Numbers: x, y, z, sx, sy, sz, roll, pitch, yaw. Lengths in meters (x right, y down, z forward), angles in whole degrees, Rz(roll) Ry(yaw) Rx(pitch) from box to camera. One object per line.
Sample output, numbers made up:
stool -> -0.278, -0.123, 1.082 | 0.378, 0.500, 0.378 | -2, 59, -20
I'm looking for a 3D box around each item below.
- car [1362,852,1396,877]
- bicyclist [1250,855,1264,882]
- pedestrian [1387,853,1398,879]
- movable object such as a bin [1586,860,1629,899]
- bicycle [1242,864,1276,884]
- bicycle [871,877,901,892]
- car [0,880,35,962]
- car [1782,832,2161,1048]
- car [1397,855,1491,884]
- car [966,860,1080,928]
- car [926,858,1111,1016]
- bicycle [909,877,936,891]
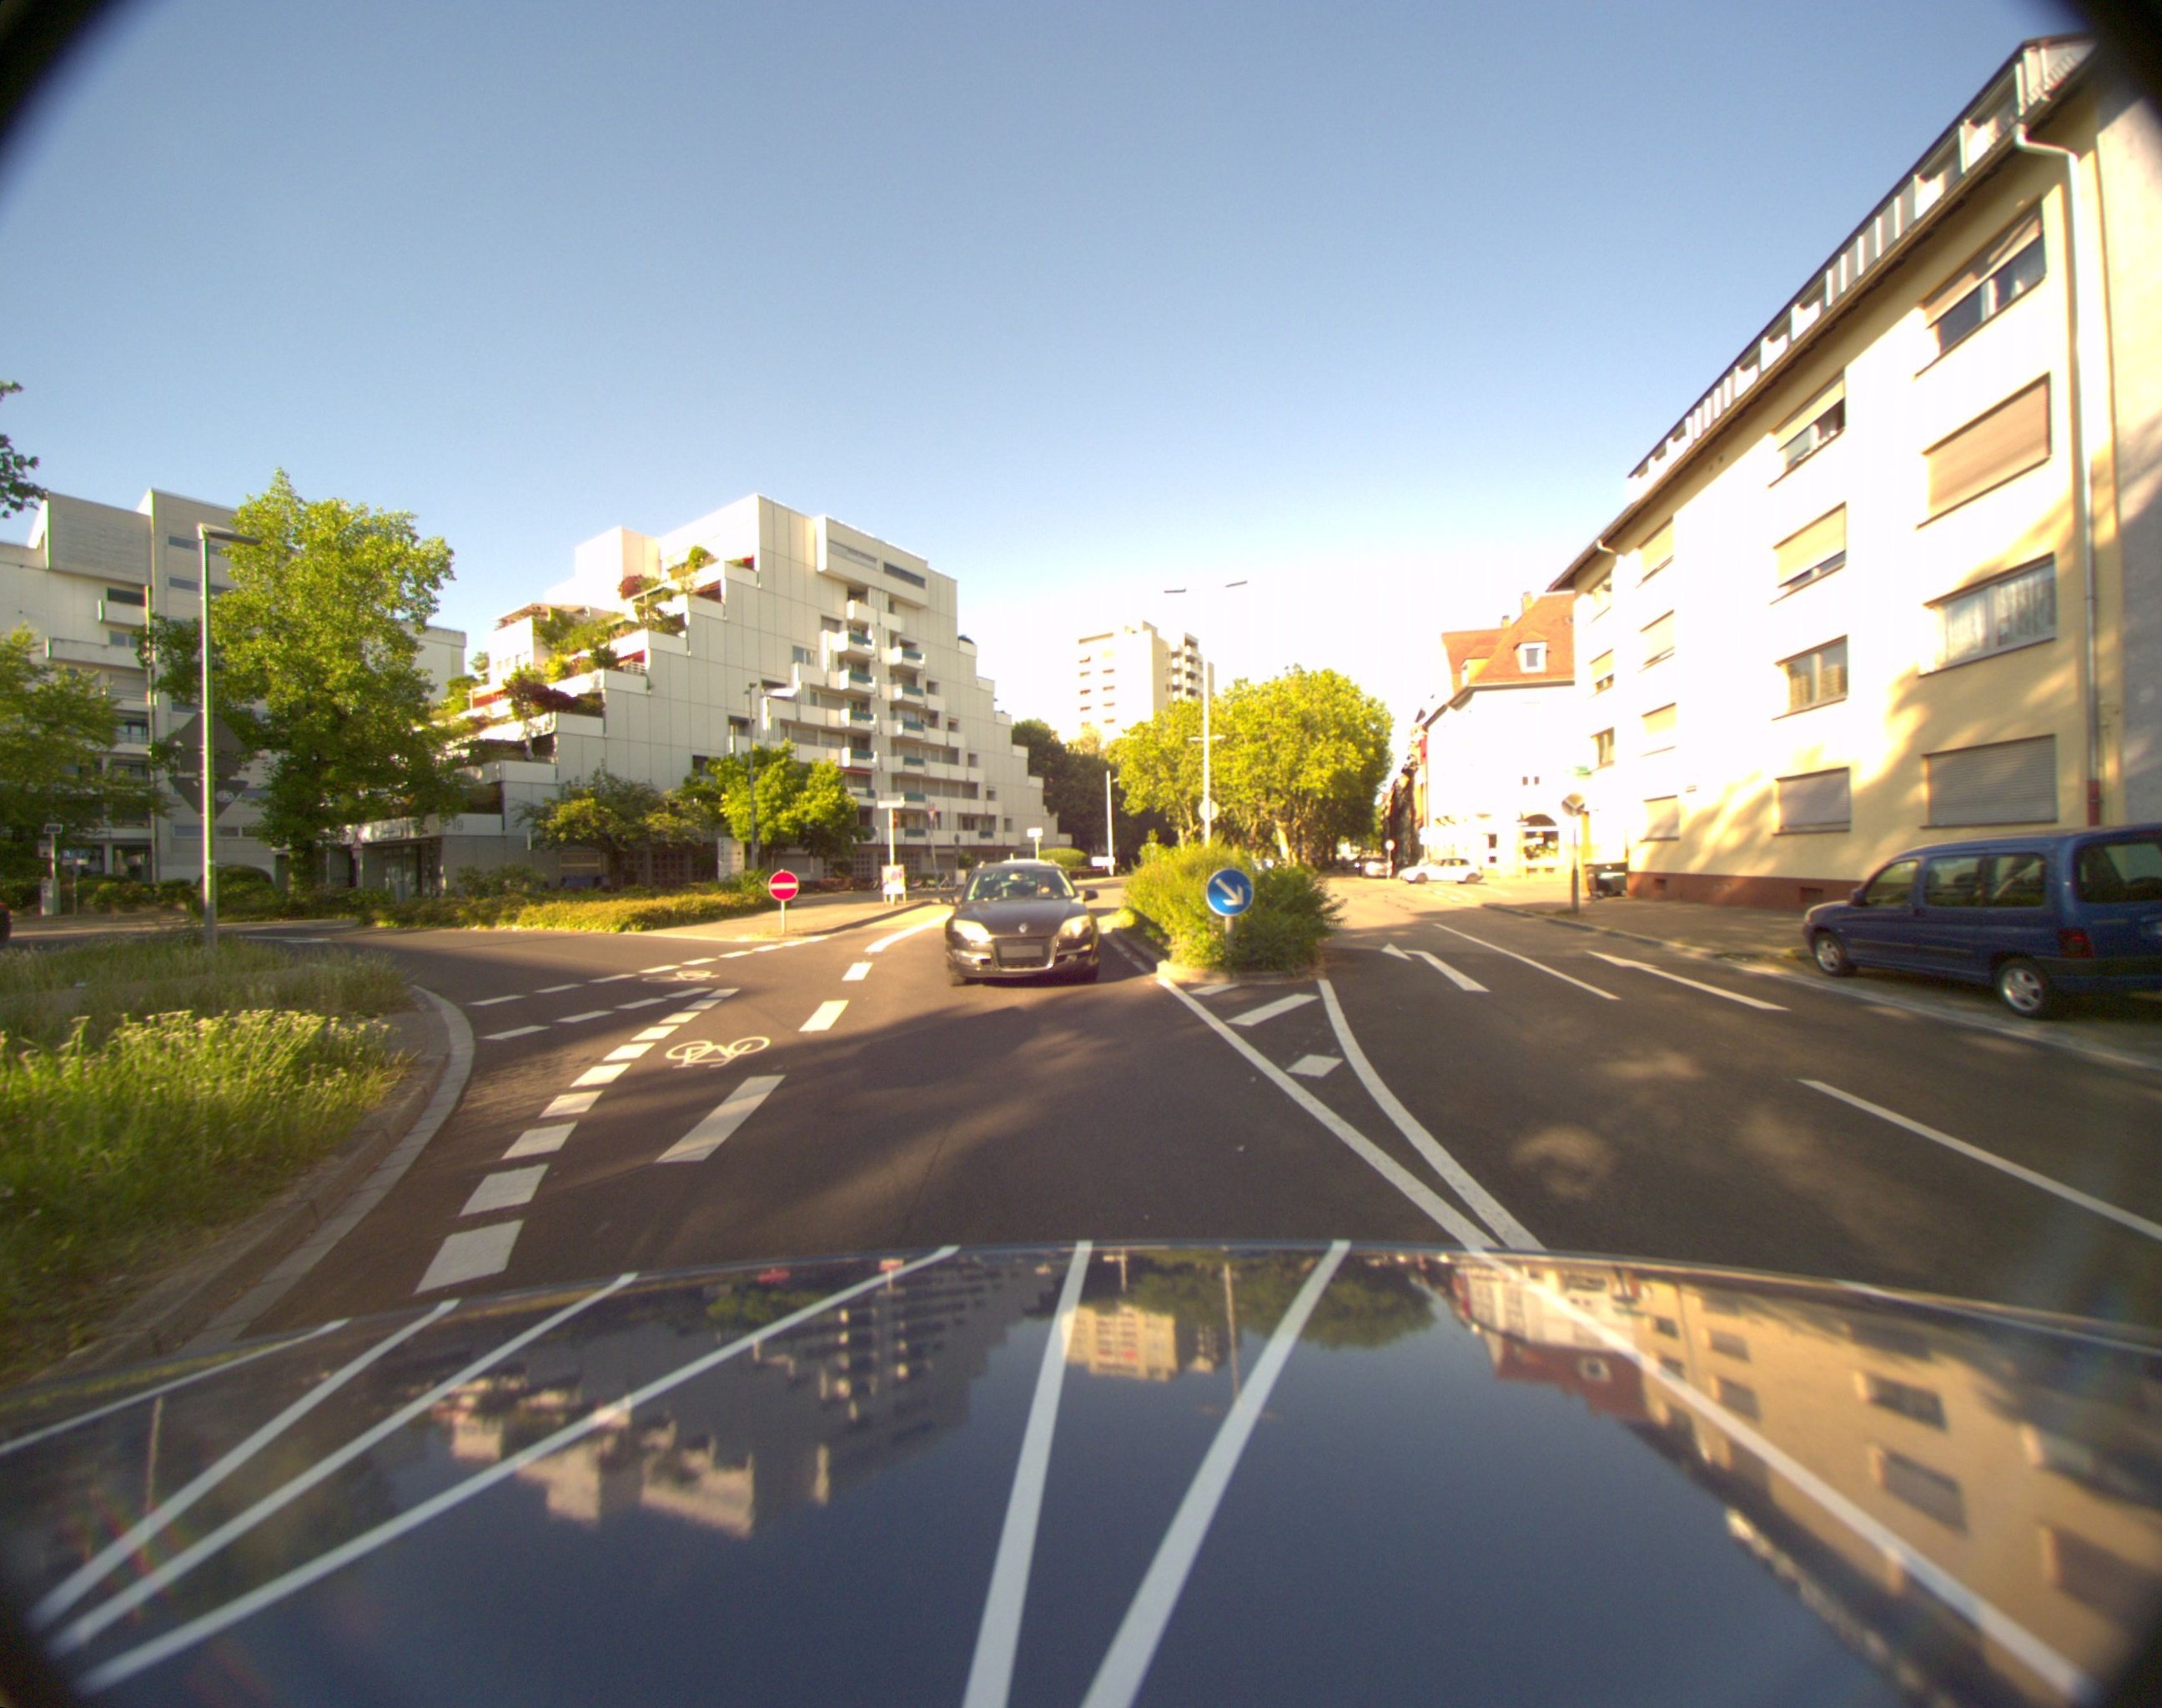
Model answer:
car -> 22.166, 0.750, 56.637 | 1.896, 1.782, 4.005 | -1, 0, 16
bicyclist -> 10.214, 0.817, 44.176 | 0.750, 1.544, 0.631 | -1, 0, 10
pedestrian -> 21.044, 0.823, 51.312 | 0.672, 1.702, 0.714 | -1, 0, 24
movable object such as a bin -> 17.897, 0.843, 25.840 | 1.033, 1.278, 1.064 | -1, 0, 26
bicycle -> 10.318, 1.159, 44.165 | 1.867, 1.083, 0.628 | -1, 0, 10
bicycle -> -11.491, 1.790, 44.790 | 1.704, 0.833, 0.463 | -1, 0, -41
car -> -22.225, 1.264, 13.593 | 1.940, 1.649, 4.472 | 1, -3, -21
car -> 9.964, 0.727, 8.318 | 1.667, 1.808, 4.010 | -3, -1, 16
car -> 19.405, 0.833, 40.811 | 4.199, 1.502, 1.802 | -1, 0, 10
car -> -1.278, 0.888, 18.210 | 1.652, 1.445, 3.538 | -1, 0, 14
car -> -0.923, 0.886, 10.148 | 1.845, 1.536, 4.521 | -3, -1, -7
bicycle -> -9.571, 1.815, 46.019 | 1.576, 0.780, 0.464 | -1, 0, -9
